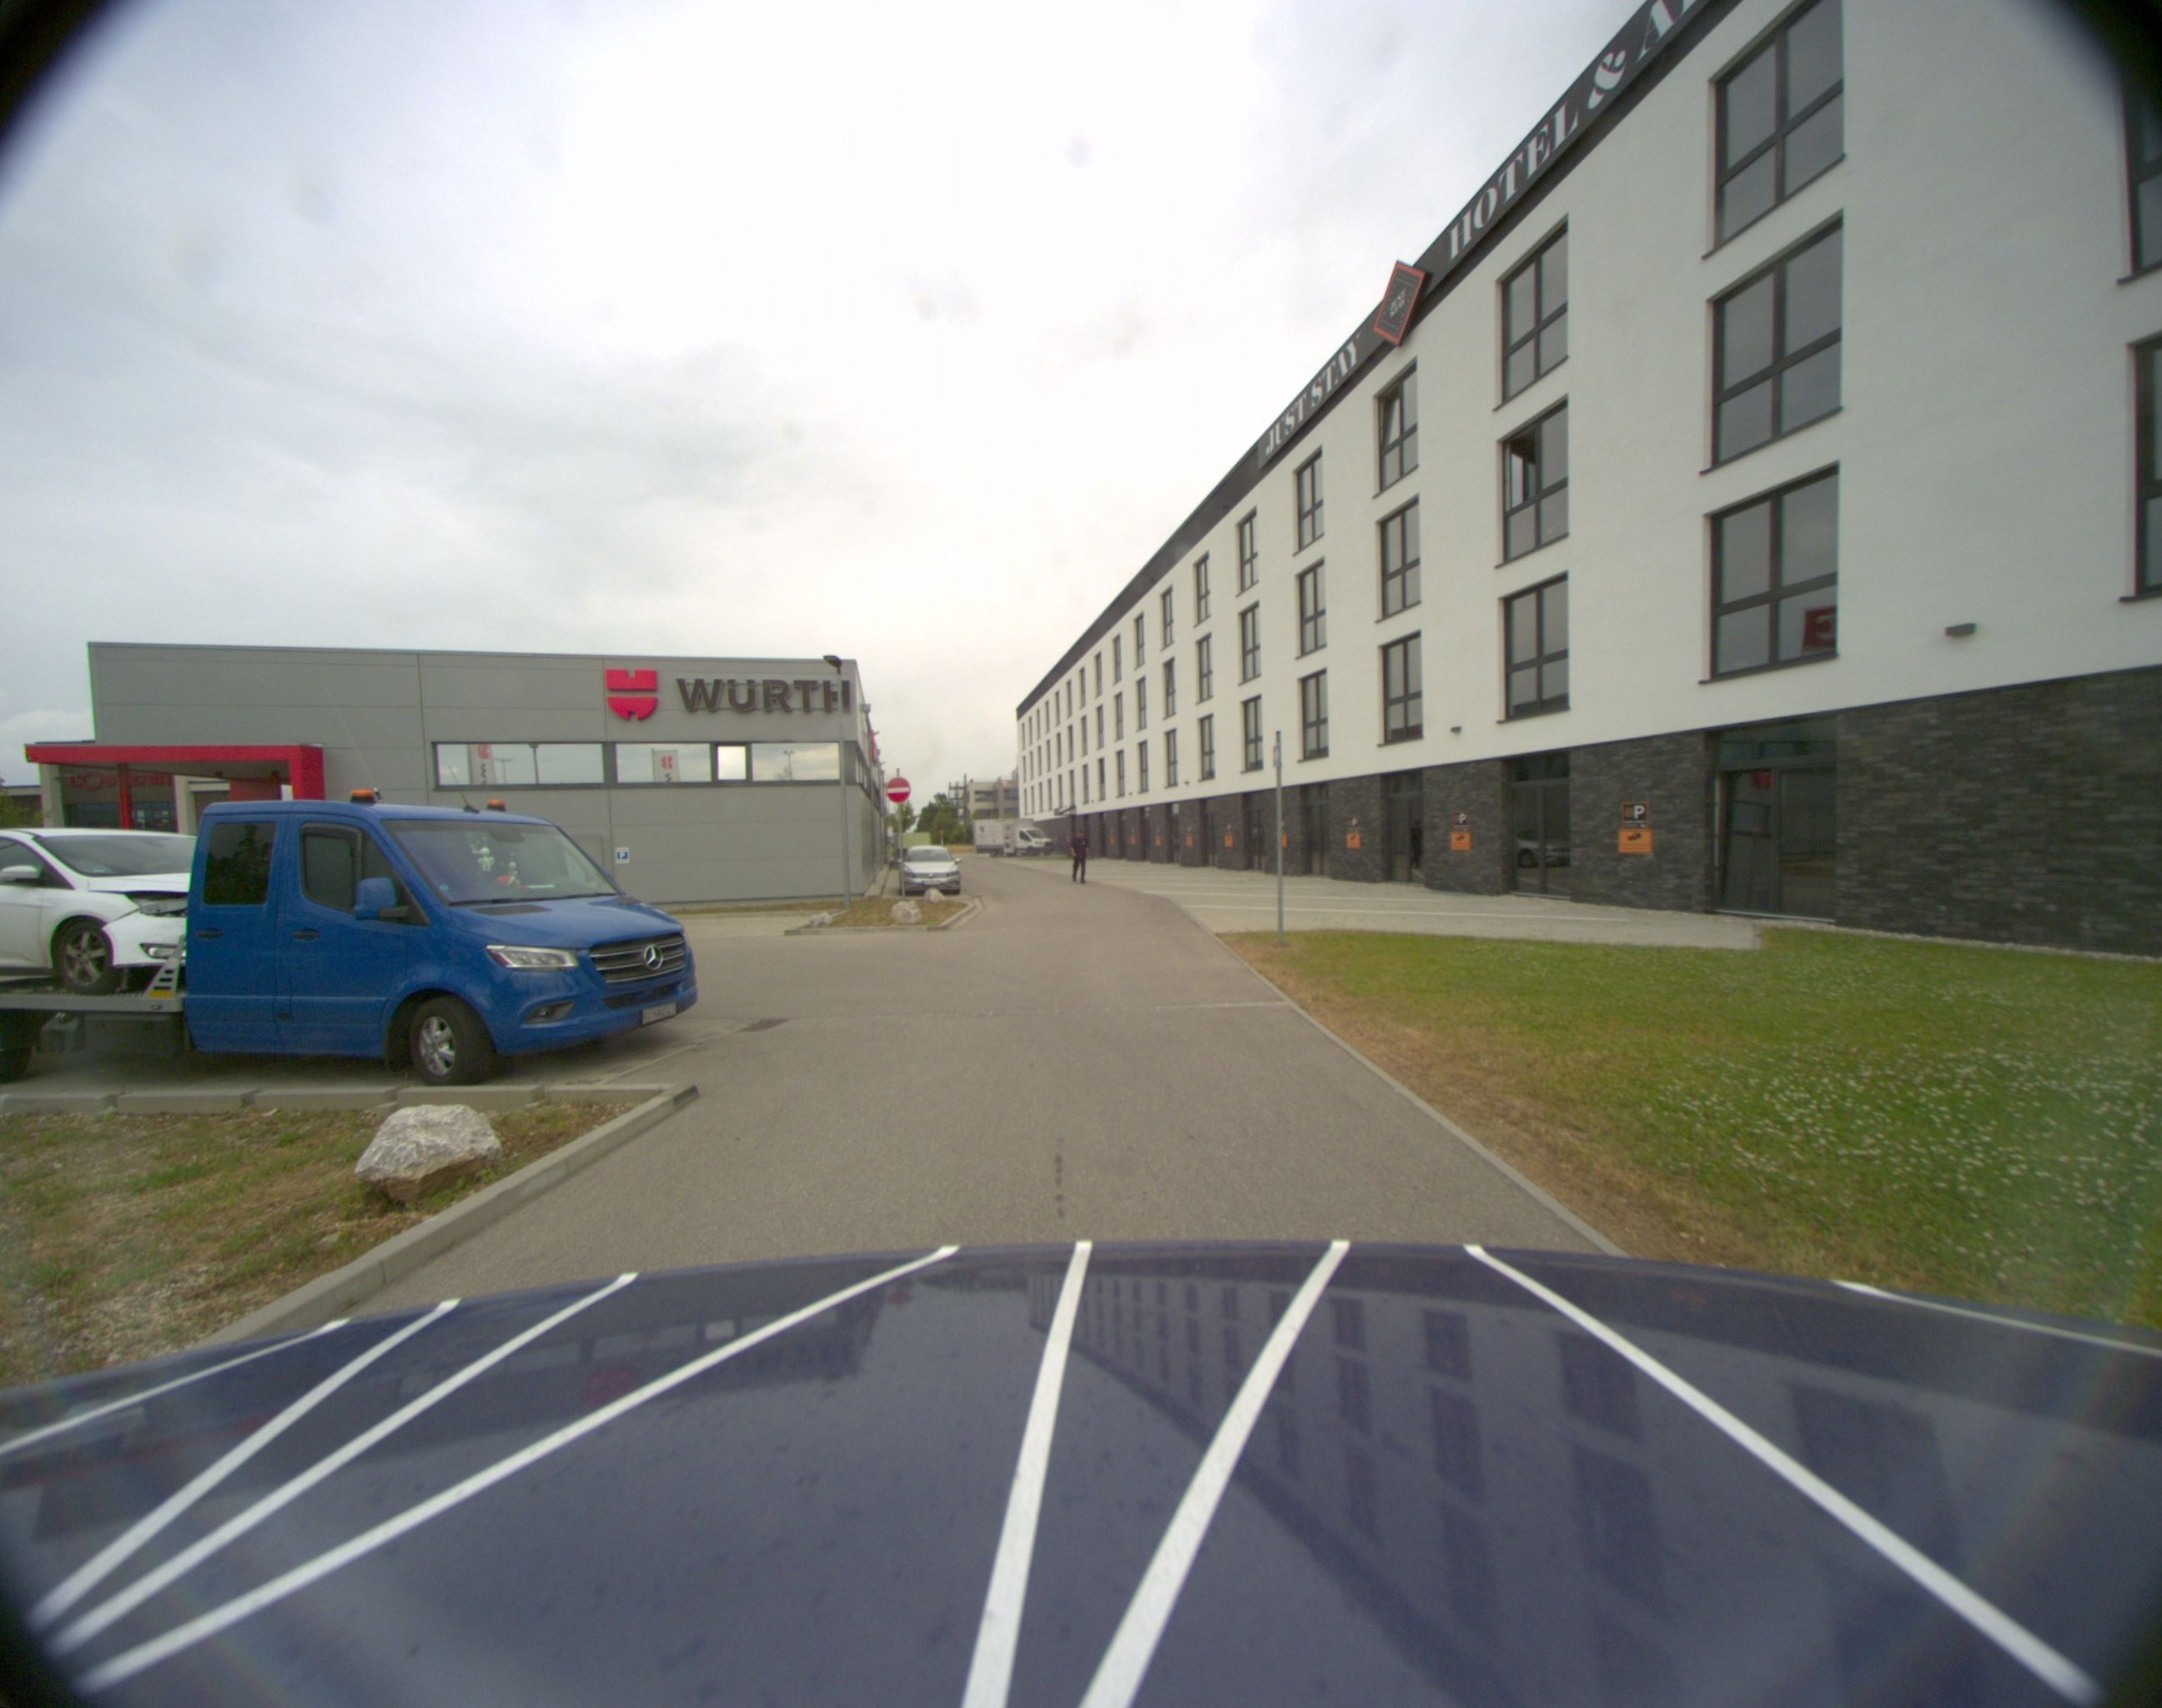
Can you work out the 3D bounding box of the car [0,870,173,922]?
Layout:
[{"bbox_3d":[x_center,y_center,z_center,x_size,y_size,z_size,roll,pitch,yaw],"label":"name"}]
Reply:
[{"bbox_3d":[-40.204,1.653,30.461,4.742,1.739,1.756,-3,2,-11],"label":"car"}]

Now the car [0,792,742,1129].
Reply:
[{"bbox_3d":[-7.376,0.790,6.848,7.845,2.310,2.202,-1,2,9],"label":"car"}]

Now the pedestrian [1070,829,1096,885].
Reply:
[{"bbox_3d":[0.059,0.097,25.417,0.709,1.812,0.812,-2,2,-7],"label":"pedestrian"}]

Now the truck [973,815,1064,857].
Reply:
[{"bbox_3d":[-4.898,-1.354,58.612,7.049,3.000,2.441,0,3,38],"label":"truck"}]

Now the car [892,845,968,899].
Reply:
[{"bbox_3d":[-4.737,0.481,24.465,1.980,1.483,4.766,0,2,-6],"label":"car"}]
